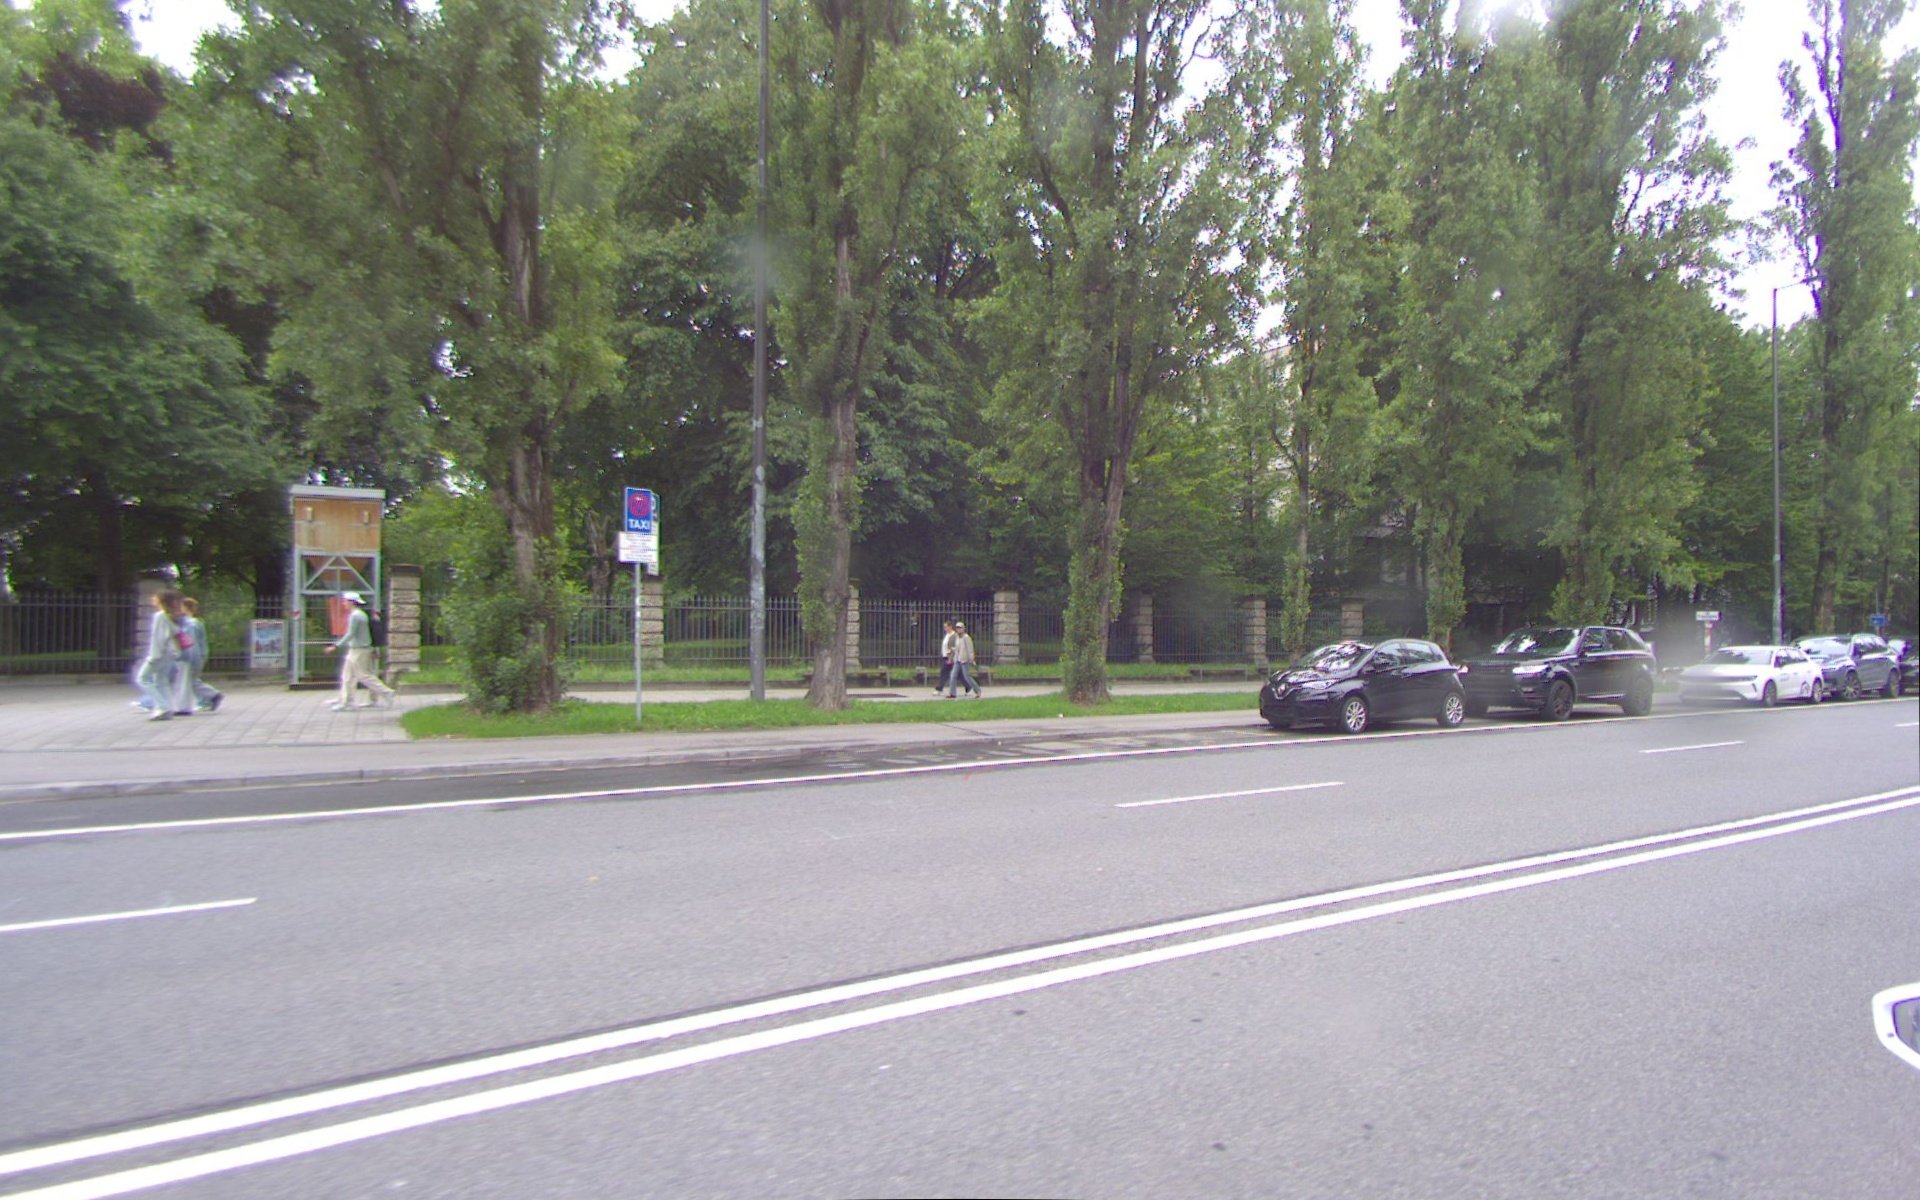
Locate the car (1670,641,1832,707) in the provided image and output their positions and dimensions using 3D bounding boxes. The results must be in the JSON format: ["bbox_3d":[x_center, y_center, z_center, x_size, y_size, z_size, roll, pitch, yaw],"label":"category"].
[{"bbox_3d":[19.418,1.778,24.622,4.224,1.478,1.696,1,-4,-31],"label":"car"}]

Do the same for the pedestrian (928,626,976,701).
[{"bbox_3d":[-0.180,1.380,22.154,0.804,1.626,0.714,1,-1,-31],"label":"pedestrian"}]

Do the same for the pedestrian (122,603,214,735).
[{"bbox_3d":[-11.021,0.946,14.008,0.898,1.770,0.626,1,-2,-31],"label":"pedestrian"}]

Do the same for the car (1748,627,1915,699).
[{"bbox_3d":[23.849,1.707,27.448,5.120,1.812,1.901,1,-4,-31],"label":"car"}]

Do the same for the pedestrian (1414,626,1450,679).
[{"bbox_3d":[15.996,1.764,34.053,0.945,1.764,0.663,1,-2,-30],"label":"pedestrian"}]

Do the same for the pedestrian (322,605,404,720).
[{"bbox_3d":[-9.689,0.996,16.325,1.080,1.796,0.706,1,0,-31],"label":"pedestrian"}]

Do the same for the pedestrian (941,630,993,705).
[{"bbox_3d":[0.144,1.421,21.485,0.866,1.569,0.714,1,-1,-32],"label":"pedestrian"}]

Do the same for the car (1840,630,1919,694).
[{"bbox_3d":[28.740,1.841,30.281,4.841,1.790,1.931,1,-4,-32],"label":"car"}]

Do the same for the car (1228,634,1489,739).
[{"bbox_3d":[6.940,1.425,17.437,4.337,1.604,1.936,1,-4,-30],"label":"car"}]

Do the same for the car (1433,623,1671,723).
[{"bbox_3d":[12.002,1.430,20.321,4.742,1.809,2.038,1,-4,-30],"label":"car"}]

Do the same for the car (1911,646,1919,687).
[{"bbox_3d":[33.497,2.163,33.256,4.185,1.351,1.818,1,-4,-31],"label":"car"}]

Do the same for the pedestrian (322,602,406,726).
[{"bbox_3d":[-9.291,0.974,15.681,1.080,1.858,0.706,1,0,-31],"label":"pedestrian"}]

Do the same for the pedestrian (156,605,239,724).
[{"bbox_3d":[-11.562,0.964,15.257,0.901,1.739,0.656,1,-2,-31],"label":"pedestrian"}]

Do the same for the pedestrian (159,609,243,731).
[{"bbox_3d":[-11.102,1.001,14.727,0.875,1.722,0.684,1,-2,-31],"label":"pedestrian"}]
